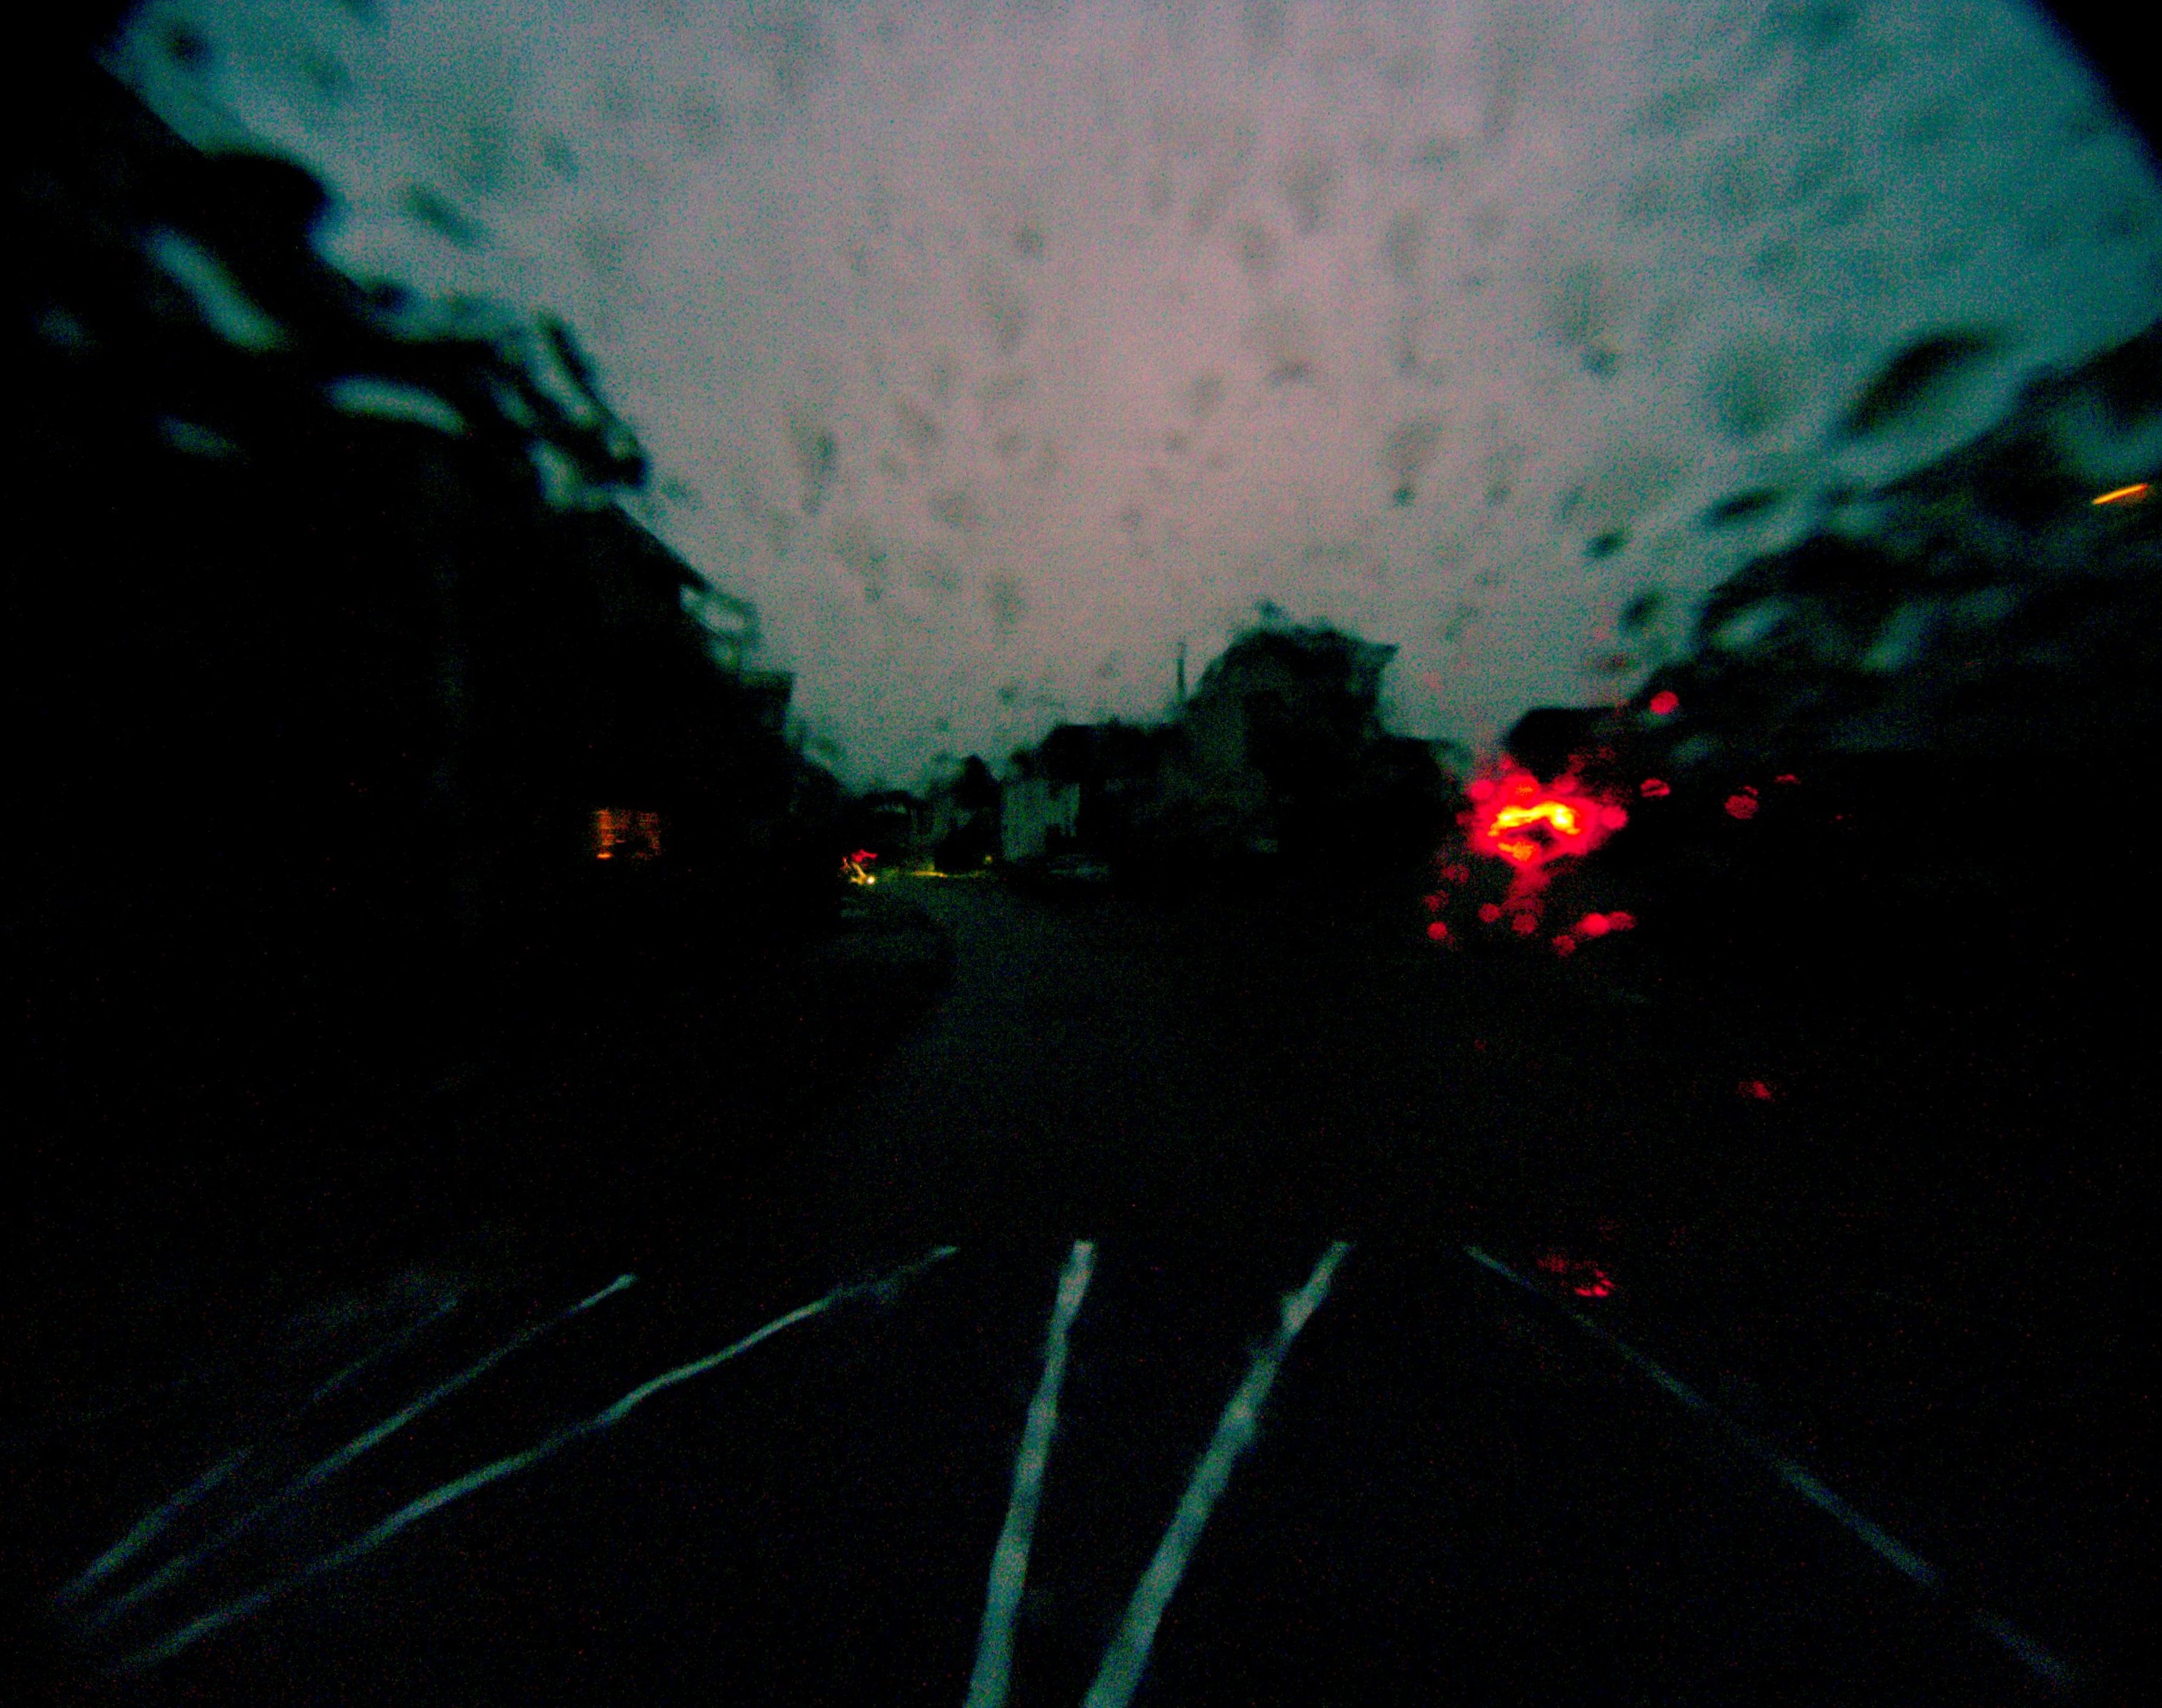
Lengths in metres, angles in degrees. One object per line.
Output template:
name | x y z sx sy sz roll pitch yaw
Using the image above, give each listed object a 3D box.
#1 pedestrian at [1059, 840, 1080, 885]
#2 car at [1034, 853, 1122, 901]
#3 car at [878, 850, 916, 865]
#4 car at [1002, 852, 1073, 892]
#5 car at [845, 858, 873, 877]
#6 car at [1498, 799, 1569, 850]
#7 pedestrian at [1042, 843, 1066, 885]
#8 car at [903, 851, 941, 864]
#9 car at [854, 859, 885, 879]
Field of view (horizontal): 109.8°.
pedestrian | -0.501 0.346 32.698 0.600 1.859 0.810 -4 3 -19
car | -0.201 0.738 26.027 1.755 1.381 4.140 -4 1 -18
car | -23.592 0.431 97.344 4.484 1.570 1.996 -4 2 -20
car | -1.875 0.713 31.423 1.830 1.432 4.061 -4 1 -18
car | -19.672 1.142 67.162 1.797 1.431 4.613 -4 2 -22
car | 16.518 -1.120 27.889 1.995 1.622 4.005 -3 3 28
pedestrian | -1.174 0.411 32.819 0.709 1.769 0.810 -4 3 -18
car | -18.853 0.422 90.173 4.226 1.417 2.003 -2 2 35
car | -17.049 1.167 61.066 1.733 1.424 4.788 -4 2 -23
